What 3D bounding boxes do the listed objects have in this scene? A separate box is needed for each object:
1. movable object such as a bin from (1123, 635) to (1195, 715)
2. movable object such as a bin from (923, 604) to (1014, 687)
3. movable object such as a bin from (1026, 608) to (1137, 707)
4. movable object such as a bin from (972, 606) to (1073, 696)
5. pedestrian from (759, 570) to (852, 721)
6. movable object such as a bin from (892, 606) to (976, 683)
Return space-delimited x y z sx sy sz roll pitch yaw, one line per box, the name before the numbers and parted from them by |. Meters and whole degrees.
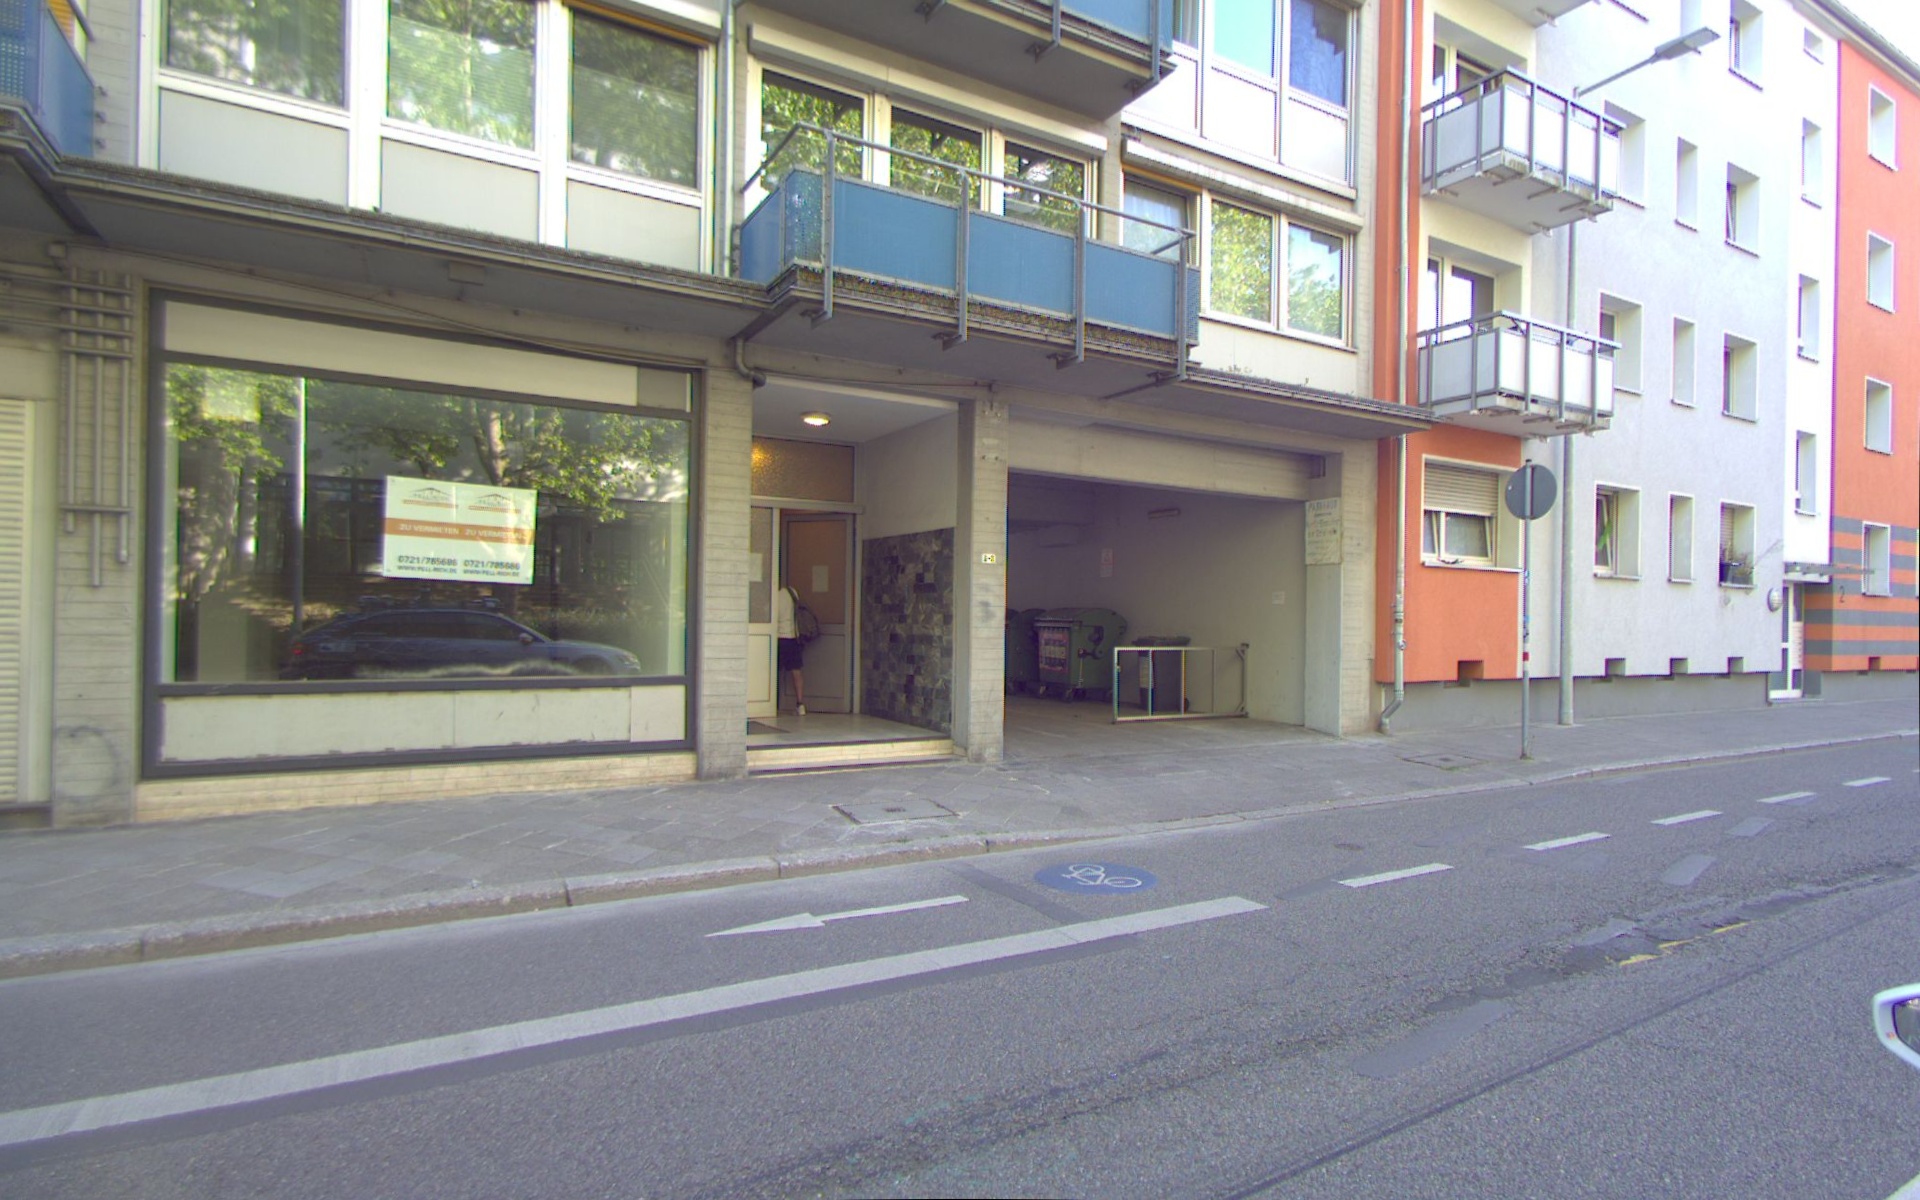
movable object such as a bin | 2.874 1.064 14.533 0.707 1.089 0.735 2 0 -30
movable object such as a bin | 0.143 0.833 18.776 1.182 1.452 1.300 2 0 -30
movable object such as a bin | 1.896 0.871 15.815 1.182 1.452 1.300 2 0 -30
movable object such as a bin | 1.056 0.853 17.202 1.182 1.452 1.300 2 0 -30
pedestrian | -1.726 0.484 11.215 0.912 1.606 0.562 1 0 42
movable object such as a bin | -0.525 0.864 19.941 1.182 1.452 1.300 2 0 -30
